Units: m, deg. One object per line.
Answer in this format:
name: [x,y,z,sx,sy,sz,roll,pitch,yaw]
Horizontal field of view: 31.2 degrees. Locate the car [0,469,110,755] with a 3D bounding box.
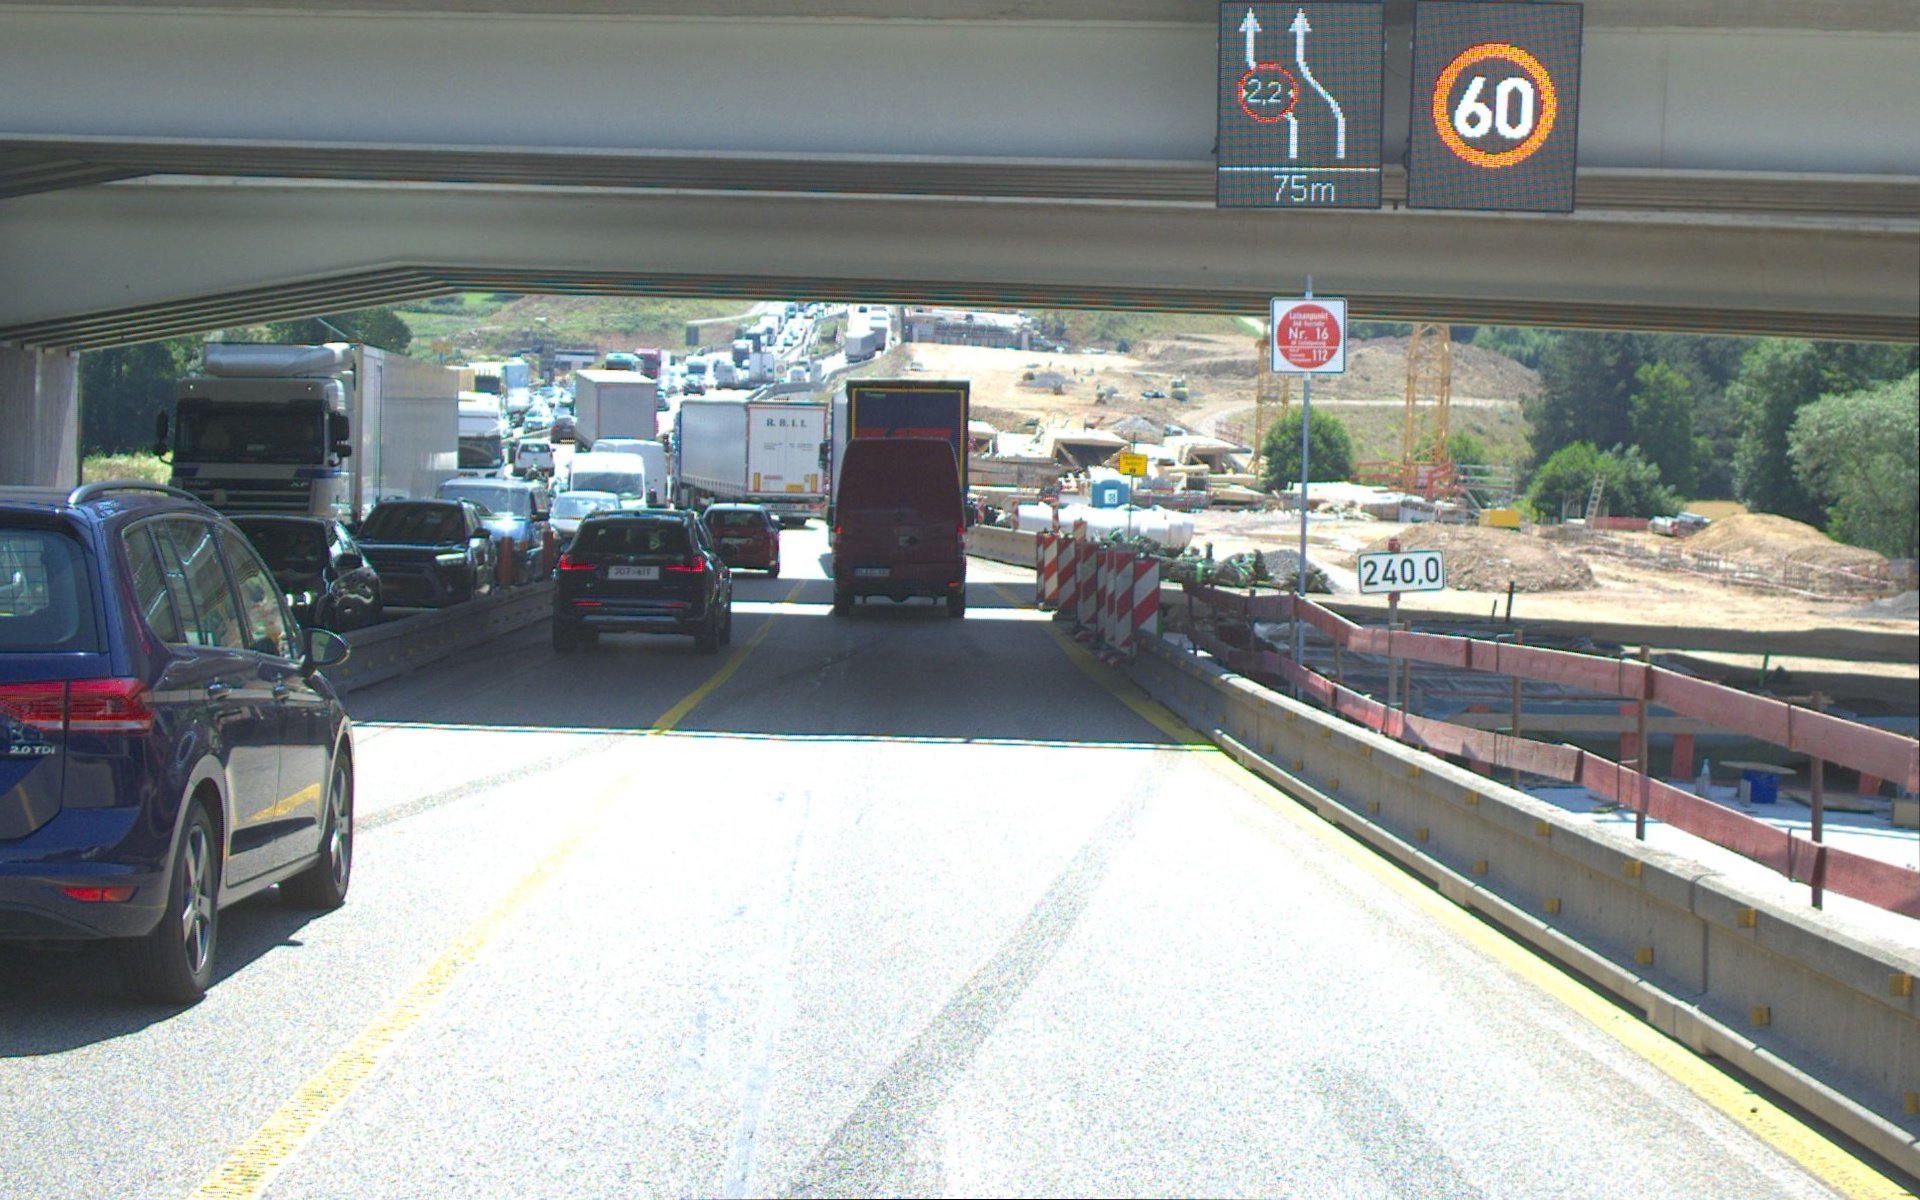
car: [-6.805,0.036,21.617,1.855,1.750,4.609,1,2,-1]

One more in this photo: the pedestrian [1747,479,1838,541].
pedestrian: [28.710,-3.091,118.686,1.993,2.007,4.000,1,0,-2]

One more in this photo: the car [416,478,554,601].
car: [-7.857,-1.032,57.214,1.799,1.926,4.969,1,2,-3]

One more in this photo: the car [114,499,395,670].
car: [-6.833,-0.162,33.778,1.855,1.522,4.774,1,0,-1]

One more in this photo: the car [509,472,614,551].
car: [-8.431,-1.880,72.977,1.748,1.604,4.142,1,2,0]

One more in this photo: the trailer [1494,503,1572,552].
trailer: [18.924,-2.418,113.648,1.623,1.481,3.827,2,2,-4]

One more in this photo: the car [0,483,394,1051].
car: [-3.242,0.428,12.098,1.734,1.630,4.390,1,1,0]

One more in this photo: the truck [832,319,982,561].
truck: [-1.226,-3.540,74.561,2.944,4.927,6.743,1,4,-2]

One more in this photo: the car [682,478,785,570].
car: [-4.584,-1.544,70.052,1.833,1.771,4.390,1,1,-1]

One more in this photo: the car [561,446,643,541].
car: [-9.161,-2.741,88.384,1.980,2.322,6.059,1,2,-5]

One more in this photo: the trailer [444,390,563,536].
trailer: [-14.040,-4.207,104.799,2.876,4.025,14.364,2,2,-10]

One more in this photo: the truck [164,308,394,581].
truck: [-10.930,-2.418,55.615,2.659,4.156,5.187,1,0,-1]

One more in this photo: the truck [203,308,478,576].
truck: [-11.020,-2.623,62.648,2.769,4.298,13.491,1,0,-1]

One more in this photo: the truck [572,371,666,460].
truck: [-14.705,-7.862,147.614,3.218,3.349,8.943,1,0,-10]

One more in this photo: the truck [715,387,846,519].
truck: [-5.815,-4.764,110.277,3.181,3.975,6.745,1,4,-11]

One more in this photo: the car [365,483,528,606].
car: [-7.346,-0.839,49.513,1.722,1.604,4.524,2,2,-1]

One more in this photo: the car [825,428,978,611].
car: [-0.855,-1.181,52.276,2.150,2.602,5.439,1,0,0]

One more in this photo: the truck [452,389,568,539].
truck: [-12.818,-3.869,97.633,2.872,4.037,4.887,2,2,-10]

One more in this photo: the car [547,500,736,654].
car: [-3.601,-0.294,39.500,1.833,1.630,4.390,1,1,-1]

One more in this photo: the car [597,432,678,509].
car: [-10.850,-4.369,115.457,2.264,2.346,5.162,1,4,-10]

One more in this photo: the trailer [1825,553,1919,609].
trailer: [22.145,-0.392,77.545,4.713,1.215,2.056,1,0,-1]
